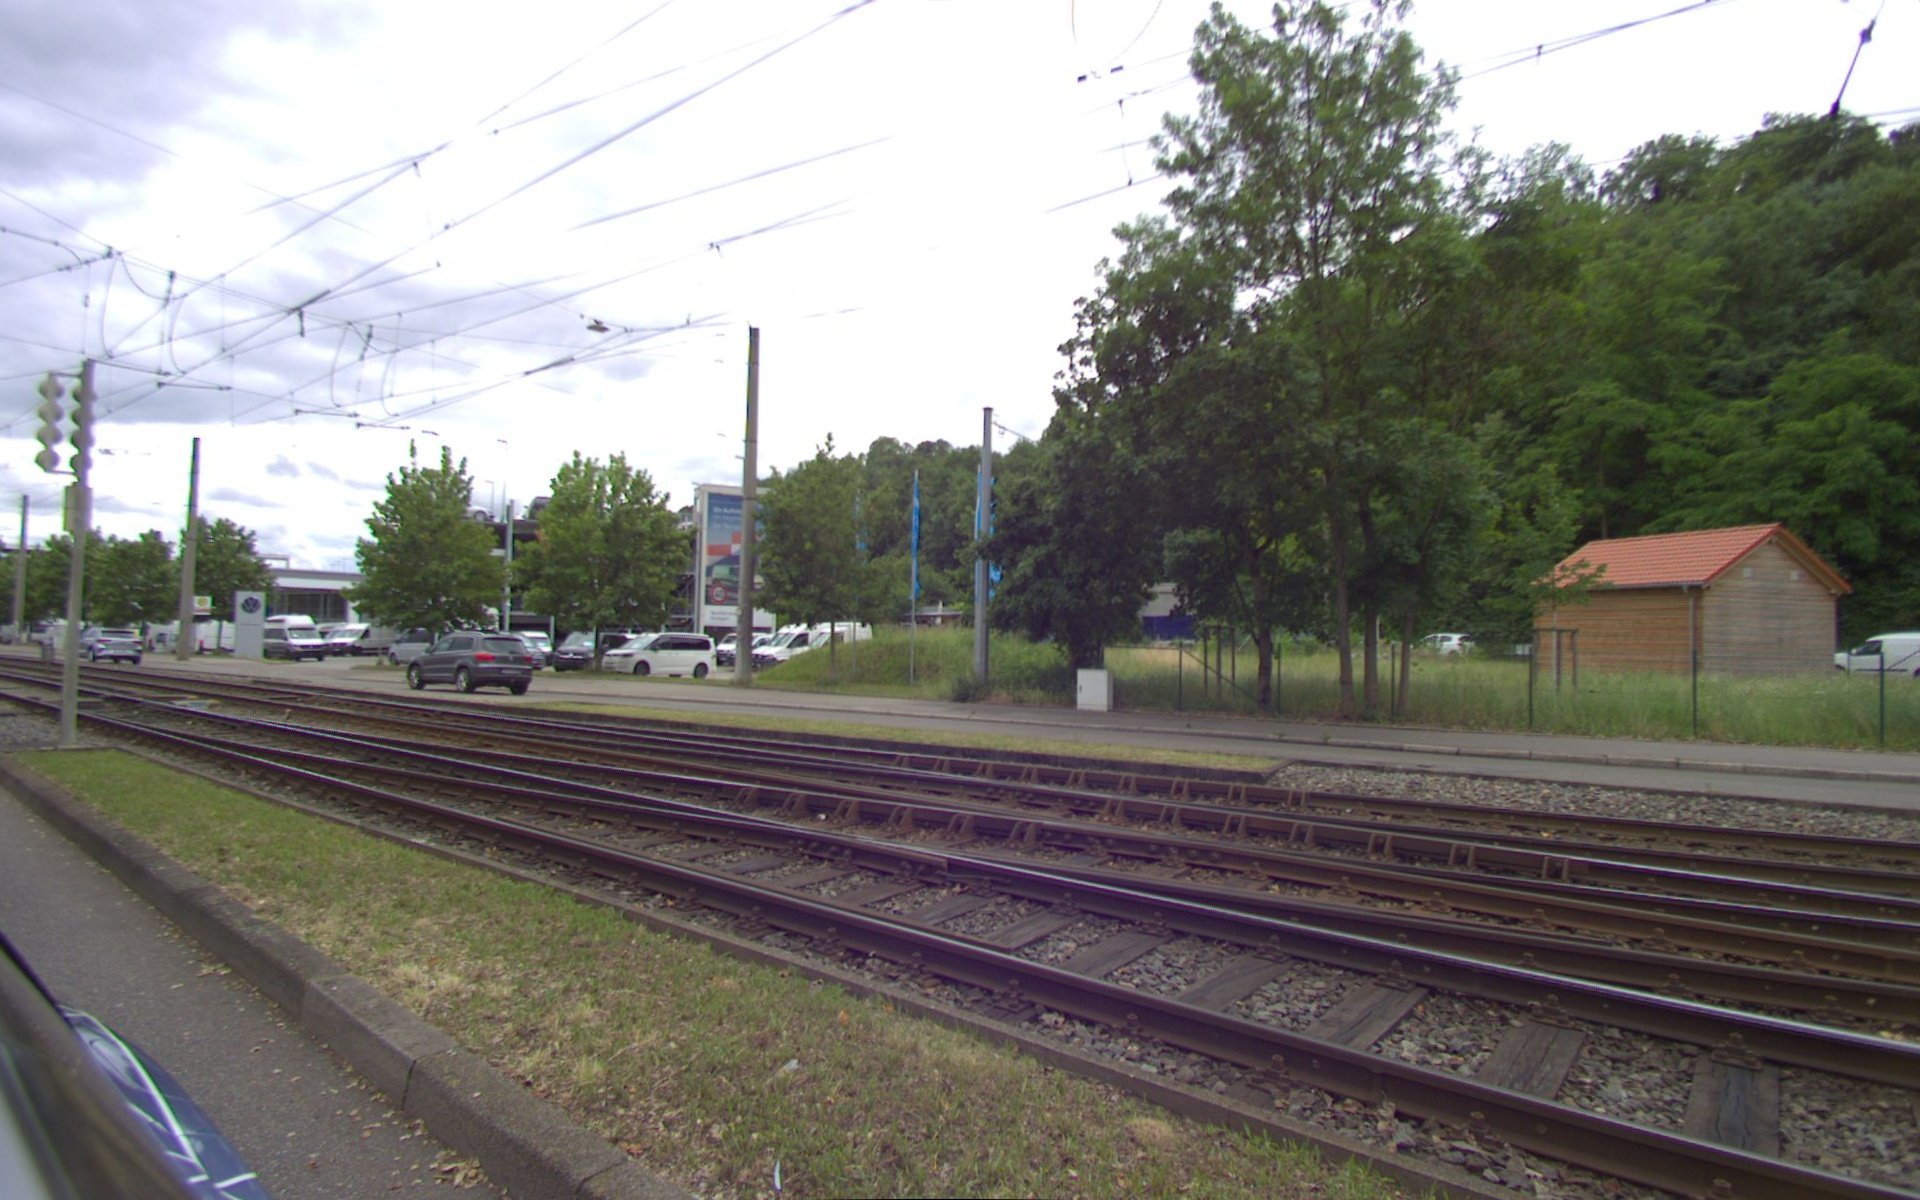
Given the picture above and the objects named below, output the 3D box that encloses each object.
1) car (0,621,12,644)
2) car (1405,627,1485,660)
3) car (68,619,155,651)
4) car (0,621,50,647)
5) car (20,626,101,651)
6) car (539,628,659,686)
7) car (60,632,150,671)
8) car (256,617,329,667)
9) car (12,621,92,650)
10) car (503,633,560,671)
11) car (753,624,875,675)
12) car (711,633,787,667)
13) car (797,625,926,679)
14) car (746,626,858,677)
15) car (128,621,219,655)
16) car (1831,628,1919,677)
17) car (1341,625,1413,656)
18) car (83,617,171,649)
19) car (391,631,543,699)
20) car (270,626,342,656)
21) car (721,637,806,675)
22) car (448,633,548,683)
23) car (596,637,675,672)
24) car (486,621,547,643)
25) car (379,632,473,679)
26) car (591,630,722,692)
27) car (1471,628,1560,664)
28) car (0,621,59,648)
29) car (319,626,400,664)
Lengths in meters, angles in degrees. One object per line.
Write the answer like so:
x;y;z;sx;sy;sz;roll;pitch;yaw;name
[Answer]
-94.081;3.178;96.864;2.102;2.225;4.589;-1;0;32;car
26.482;2.325;55.390;1.727;1.625;3.693;-1;0;-25;car
-63.864;2.615;76.230;2.102;2.225;4.589;-1;0;32;car
-85.626;3.069;91.524;2.102;2.225;4.589;-1;0;32;car
-73.585;3.099;82.850;2.102;1.854;4.589;-1;0;32;car
-16.004;2.473;45.058;1.977;2.284;4.717;-1;0;37;car
-37.490;2.242;44.365;4.167;1.590;1.976;-1;-3;35;car
-43.183;2.656;65.418;6.154;3.034;2.291;-1;0;40;car
-75.545;2.939;84.256;2.102;2.225;4.589;-1;0;32;car
-24.518;2.928;57.817;1.872;1.907;4.606;-1;0;-38;car
-7.347;2.449;51.098;5.751;2.284;2.060;-1;0;-28;car
-12.985;3.028;62.223;4.165;1.850;1.986;-1;0;-31;car
-4.701;2.415;48.369;5.762;2.284;2.060;-1;0;-28;car
-8.465;2.716;54.405;5.568;2.479;1.986;-1;0;-31;car
-54.967;2.621;70.802;2.102;2.225;4.589;-1;0;32;car
34.180;1.870;36.533;1.877;1.625;3.693;-1;0;-22;car
24.471;2.350;59.461;1.727;1.625;3.693;-1;0;-25;car
-61.486;2.386;74.746;2.102;2.225;4.589;-1;0;32;car
-13.768;1.803;28.212;4.125;1.731;1.884;-1;-6;34;car
-53.664;3.315;83.130;2.107;2.225;4.579;-1;0;39;car
-10.920;3.062;56.260;4.165;1.850;1.986;-1;0;-31;car
-21.816;2.682;47.755;4.763;2.132;2.118;-1;0;34;car
-19.429;3.207;60.622;4.165;1.850;1.986;-1;0;-31;car
-41.814;2.973;95.387;5.138;1.850;1.986;-1;0;-29;car
-27.053;2.758;51.209;4.761;2.132;2.119;-1;0;32;car
-12.840;2.523;43.116;1.997;2.284;5.206;-1;0;37;car
28.177;2.304;51.435;1.727;1.625;3.693;-1;0;-22;car
-83.603;3.043;90.149;2.102;2.225;4.589;-1;0;32;car
-46.478;3.431;78.526;2.293;2.642;6.036;-1;0;6;car
